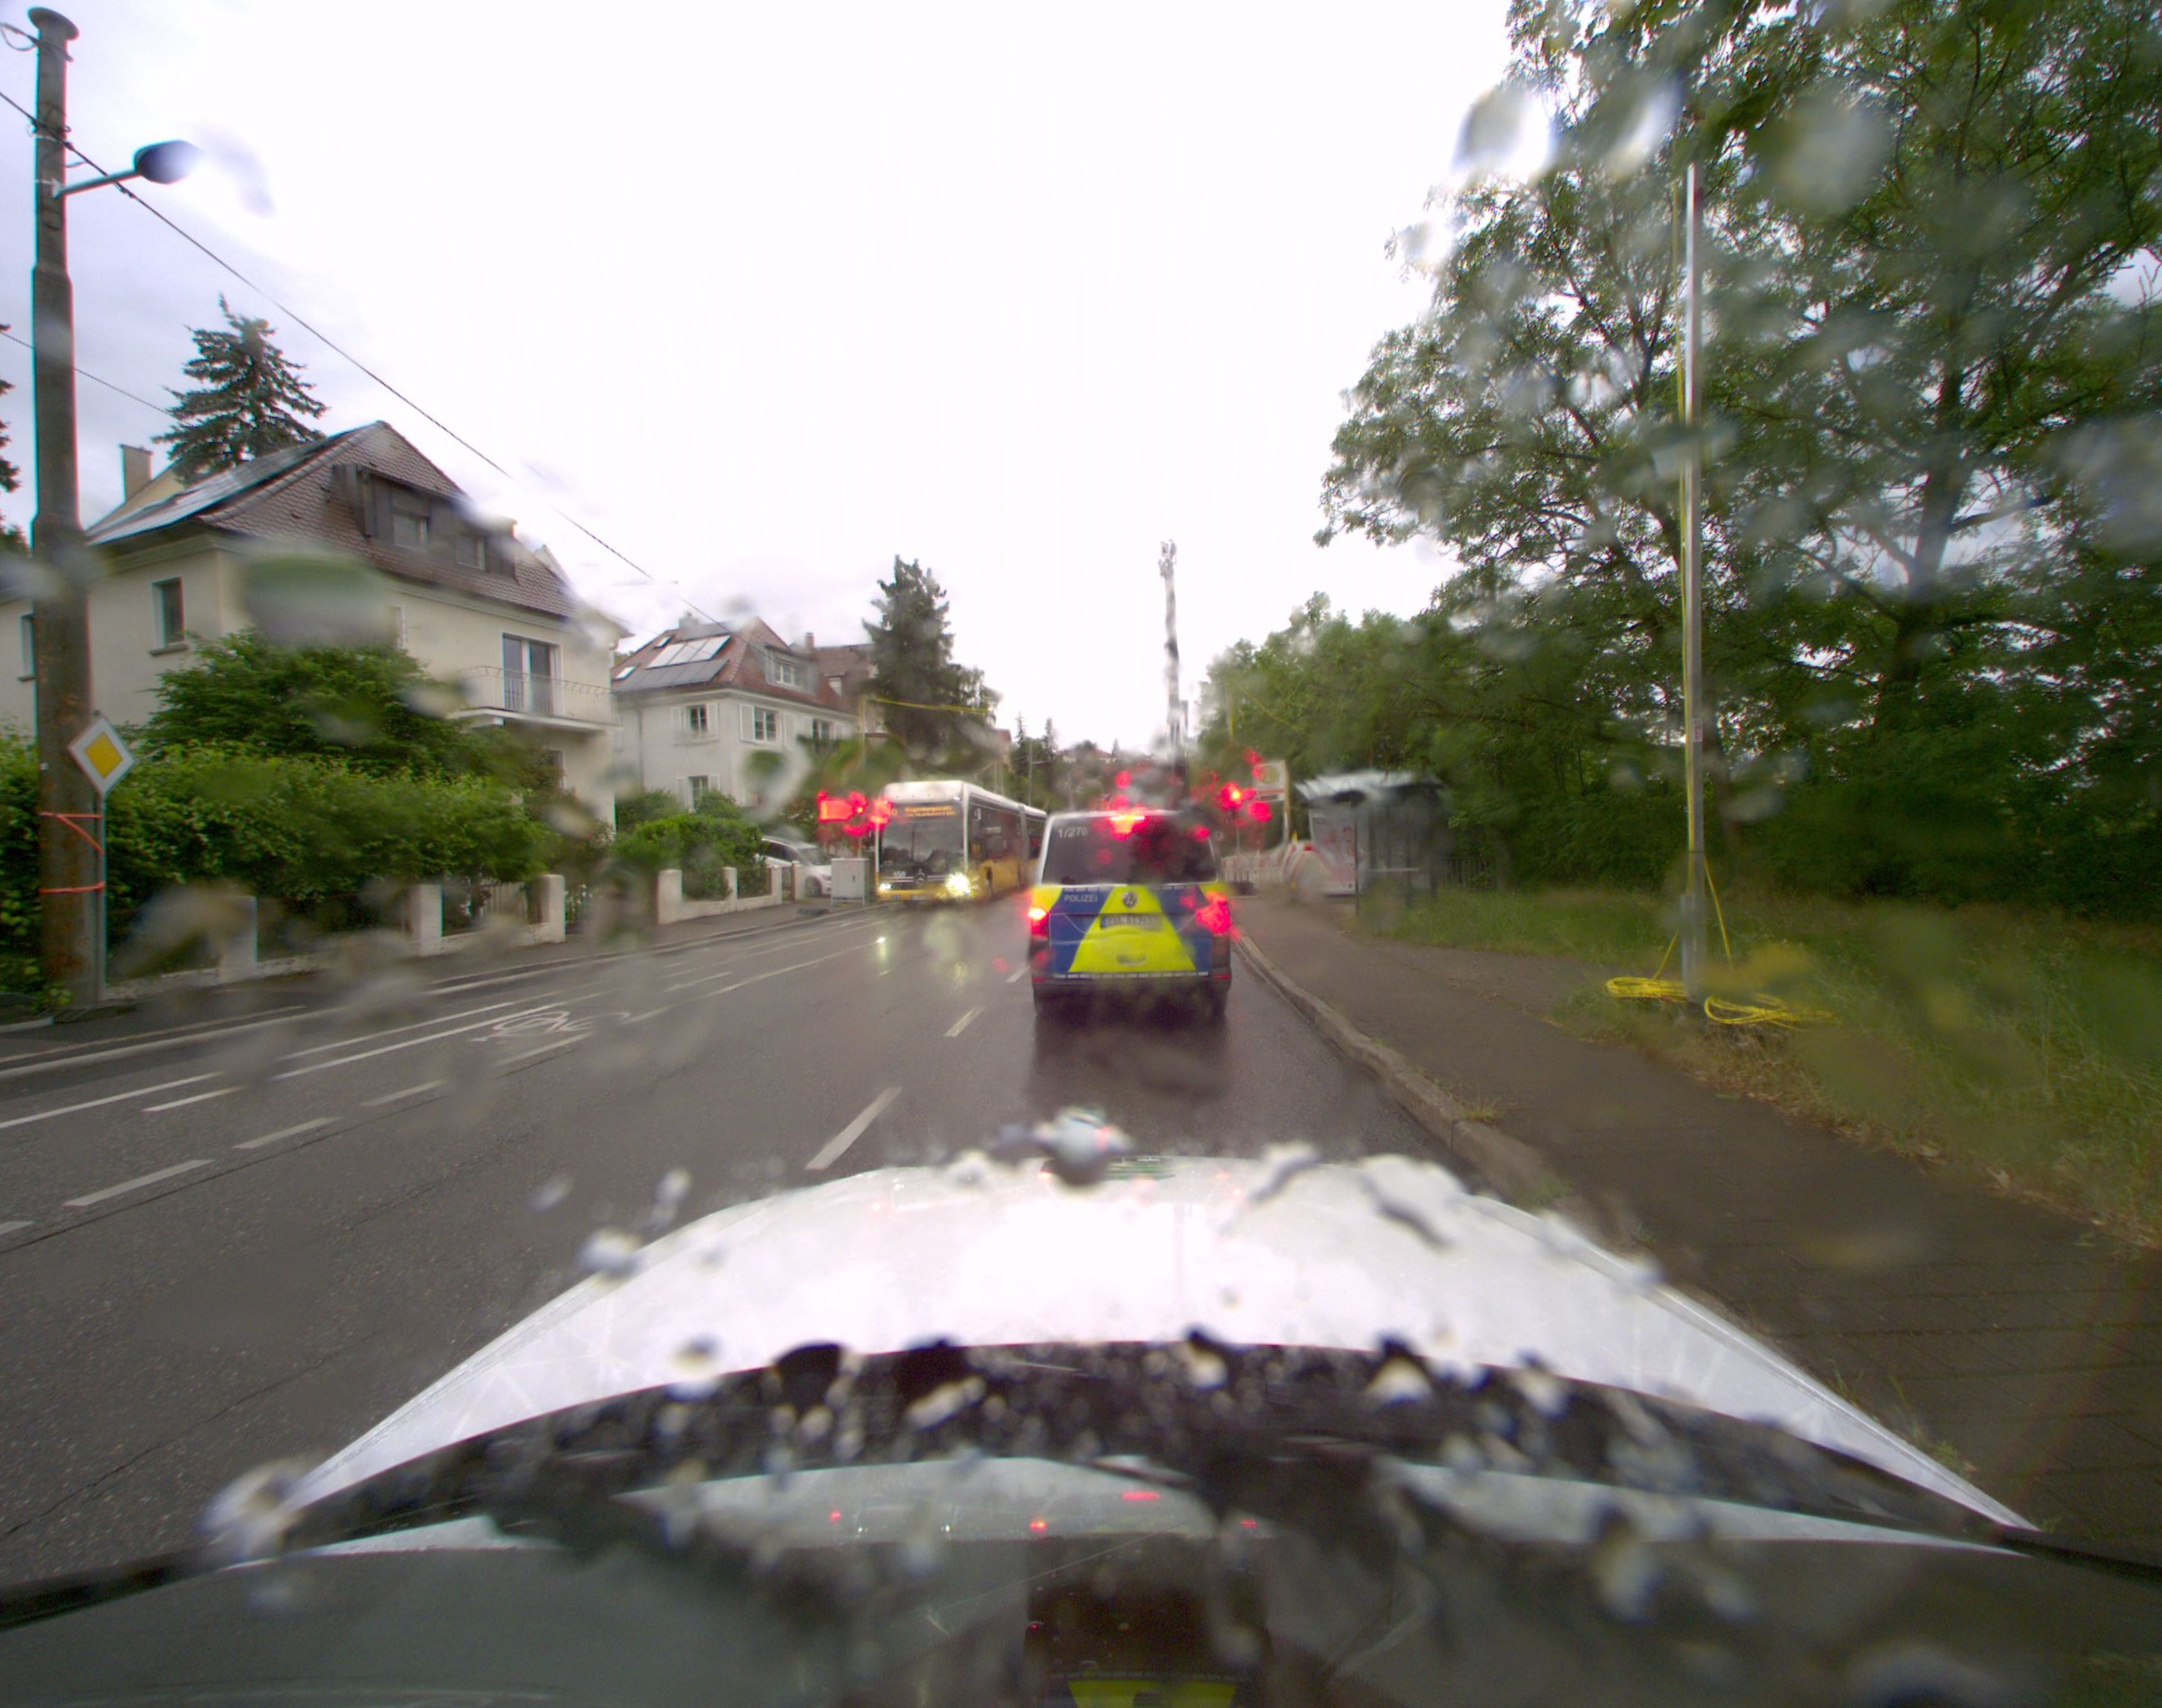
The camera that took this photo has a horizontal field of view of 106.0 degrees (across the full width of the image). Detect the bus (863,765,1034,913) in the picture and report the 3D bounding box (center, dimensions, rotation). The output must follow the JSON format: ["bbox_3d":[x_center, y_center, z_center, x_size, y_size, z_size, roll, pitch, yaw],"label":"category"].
[{"bbox_3d":[-3.701,-0.396,26.563,2.828,3.718,12.017,0,0,4],"label":"bus"}]

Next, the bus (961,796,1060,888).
[{"bbox_3d":[-2.961,-0.507,38.395,2.828,3.625,12.017,0,0,4],"label":"bus"}]

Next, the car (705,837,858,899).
[{"bbox_3d":[-10.281,0.463,28.050,4.599,2.007,1.907,0,0,13],"label":"car"}]

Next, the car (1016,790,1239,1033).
[{"bbox_3d":[0.461,0.485,8.935,1.886,2.050,4.002,0,0,2],"label":"car"}]

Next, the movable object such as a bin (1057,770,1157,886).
[{"bbox_3d":[1.105,-0.927,31.766,2.809,4.177,4.400,0,0,17],"label":"movable object such as a bin"}]
